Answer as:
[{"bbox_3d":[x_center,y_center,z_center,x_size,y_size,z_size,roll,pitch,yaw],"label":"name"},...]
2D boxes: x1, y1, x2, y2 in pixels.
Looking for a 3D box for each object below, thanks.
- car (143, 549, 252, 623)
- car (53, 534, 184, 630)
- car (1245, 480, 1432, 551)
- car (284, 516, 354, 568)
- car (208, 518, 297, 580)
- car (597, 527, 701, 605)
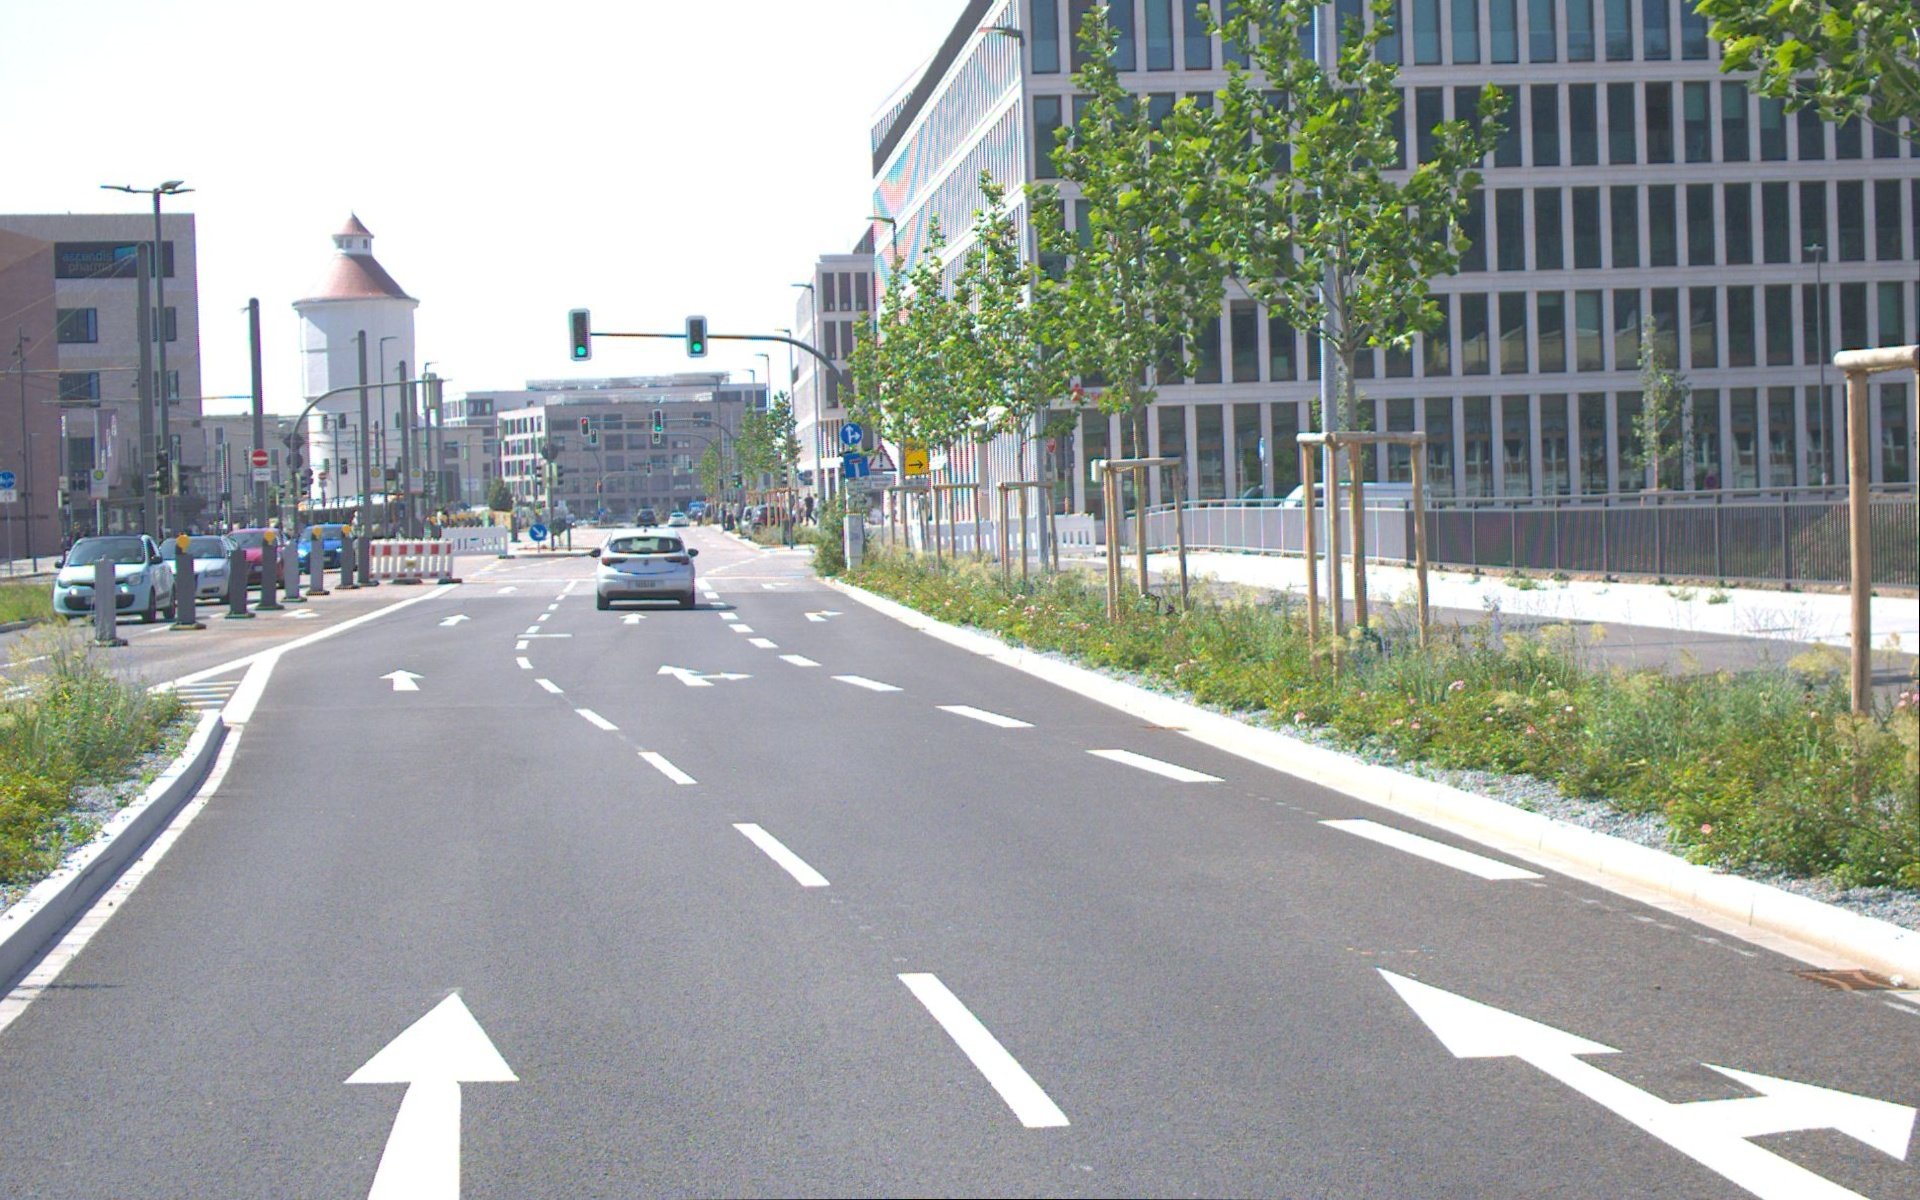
[{"bbox_3d":[-15.809,-0.318,71.464,1.580,1.411,4.297,-2,1,-5],"label":"car"},{"bbox_3d":[-14.739,-0.343,60.348,1.580,1.525,3.621,-4,1,-5],"label":"car"},{"bbox_3d":[12.477,-2.791,113.577,5.836,2.262,2.147,0,2,-5],"label":"car"},{"bbox_3d":[-18.808,-1.720,100.999,1.628,1.422,4.291,-3,2,-6],"label":"car"},{"bbox_3d":[-17.058,-1.248,83.023,1.580,1.411,4.000,-2,1,-5],"label":"car"},{"bbox_3d":[-5.685,-0.619,63.181,1.771,1.390,3.532,0,0,-3],"label":"car"}]
